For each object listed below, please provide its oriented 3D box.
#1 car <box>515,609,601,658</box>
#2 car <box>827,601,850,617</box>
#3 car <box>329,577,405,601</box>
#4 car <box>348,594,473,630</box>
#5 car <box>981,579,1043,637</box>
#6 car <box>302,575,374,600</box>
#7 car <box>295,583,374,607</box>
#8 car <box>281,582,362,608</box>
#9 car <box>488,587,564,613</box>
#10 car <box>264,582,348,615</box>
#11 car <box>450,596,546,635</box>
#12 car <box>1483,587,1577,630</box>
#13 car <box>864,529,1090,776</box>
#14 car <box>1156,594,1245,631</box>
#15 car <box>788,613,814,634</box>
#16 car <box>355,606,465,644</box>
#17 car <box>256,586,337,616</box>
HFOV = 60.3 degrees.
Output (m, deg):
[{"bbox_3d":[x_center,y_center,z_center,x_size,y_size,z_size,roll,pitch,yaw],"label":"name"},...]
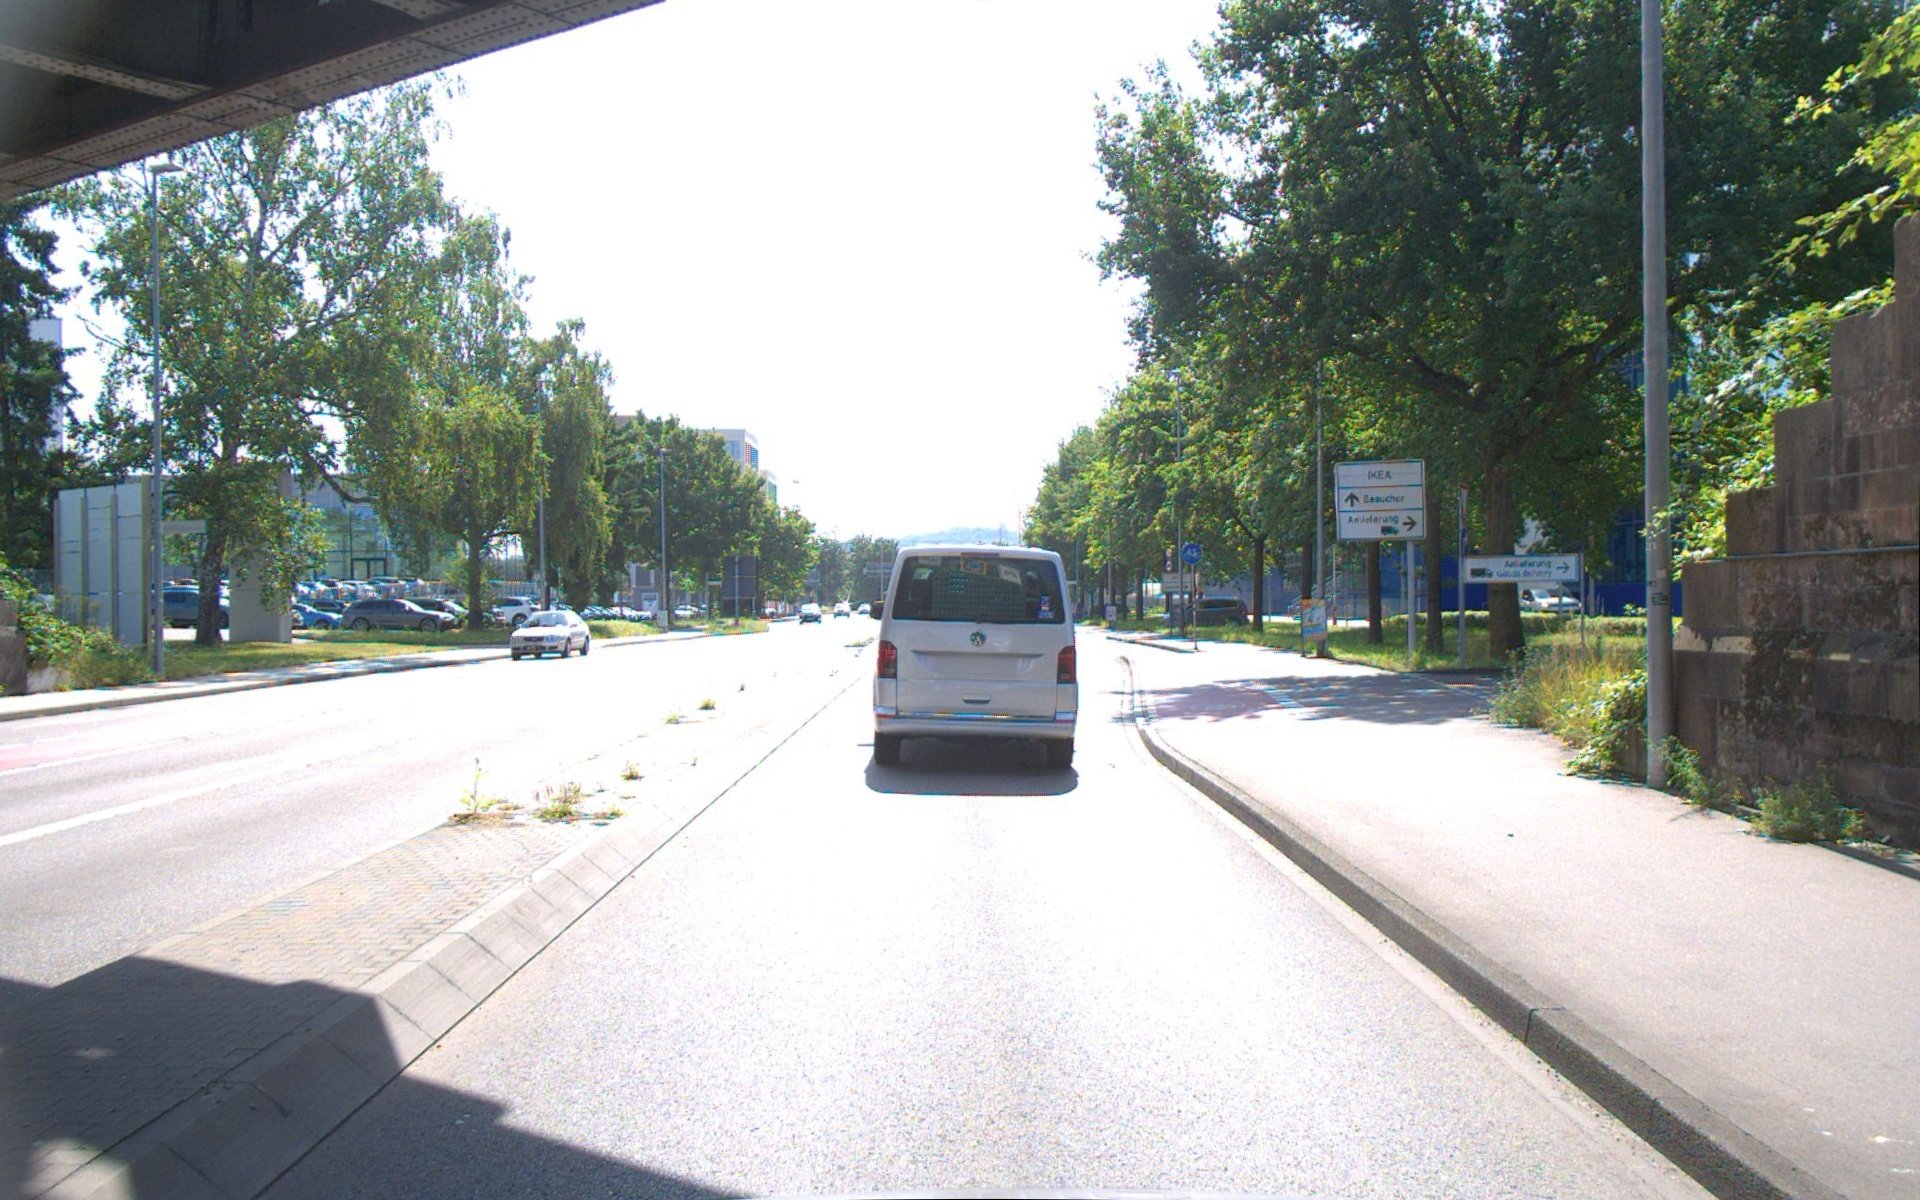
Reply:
[{"bbox_3d":[-12.339,1.008,51.011,1.602,1.412,4.317,-1,0,-1],"label":"car"},{"bbox_3d":[-13.271,0.956,181.102,1.952,1.646,4.105,-2,0,3],"label":"car"},{"bbox_3d":[-40.210,-0.756,112.174,4.428,1.522,1.986,1,0,-1],"label":"car"},{"bbox_3d":[-23.243,0.497,70.115,4.591,1.414,1.999,1,0,-1],"label":"car"},{"bbox_3d":[1.868,0.296,60.388,1.928,2.002,5.123,1,0,-2],"label":"car"},{"bbox_3d":[-40.281,-0.792,107.188,3.906,1.522,2.051,1,0,-1],"label":"car"},{"bbox_3d":[-40.503,-0.314,107.145,4.410,1.511,1.978,-1,0,-3],"label":"car"},{"bbox_3d":[-40.437,-0.334,104.829,4.410,1.578,1.978,-1,0,-3],"label":"car"},{"bbox_3d":[-23.736,-0.005,90.593,3.715,1.308,1.743,1,0,-3],"label":"car"},{"bbox_3d":[-40.388,-0.097,102.196,4.410,1.996,1.978,-1,0,-3],"label":"car"},{"bbox_3d":[-23.932,0.788,85.807,4.372,1.908,2.000,1,0,0],"label":"car"},{"bbox_3d":[23.491,0.347,68.345,1.817,1.668,4.294,1,0,-10],"label":"car"},{"bbox_3d":[0.115,0.447,15.809,1.846,2.025,3.999,1,0,-1],"label":"car"},{"bbox_3d":[12.118,0.649,83.434,4.350,1.723,1.845,-2,-1,6],"label":"car"},{"bbox_3d":[-12.427,1.798,129.288,1.663,1.545,4.026,-2,0,-1],"label":"car"},{"bbox_3d":[-24.076,1.091,72.563,4.128,1.573,1.999,1,0,-1],"label":"car"},{"bbox_3d":[-40.138,0.054,100.115,4.183,1.735,1.664,-1,0,-3],"label":"car"}]
